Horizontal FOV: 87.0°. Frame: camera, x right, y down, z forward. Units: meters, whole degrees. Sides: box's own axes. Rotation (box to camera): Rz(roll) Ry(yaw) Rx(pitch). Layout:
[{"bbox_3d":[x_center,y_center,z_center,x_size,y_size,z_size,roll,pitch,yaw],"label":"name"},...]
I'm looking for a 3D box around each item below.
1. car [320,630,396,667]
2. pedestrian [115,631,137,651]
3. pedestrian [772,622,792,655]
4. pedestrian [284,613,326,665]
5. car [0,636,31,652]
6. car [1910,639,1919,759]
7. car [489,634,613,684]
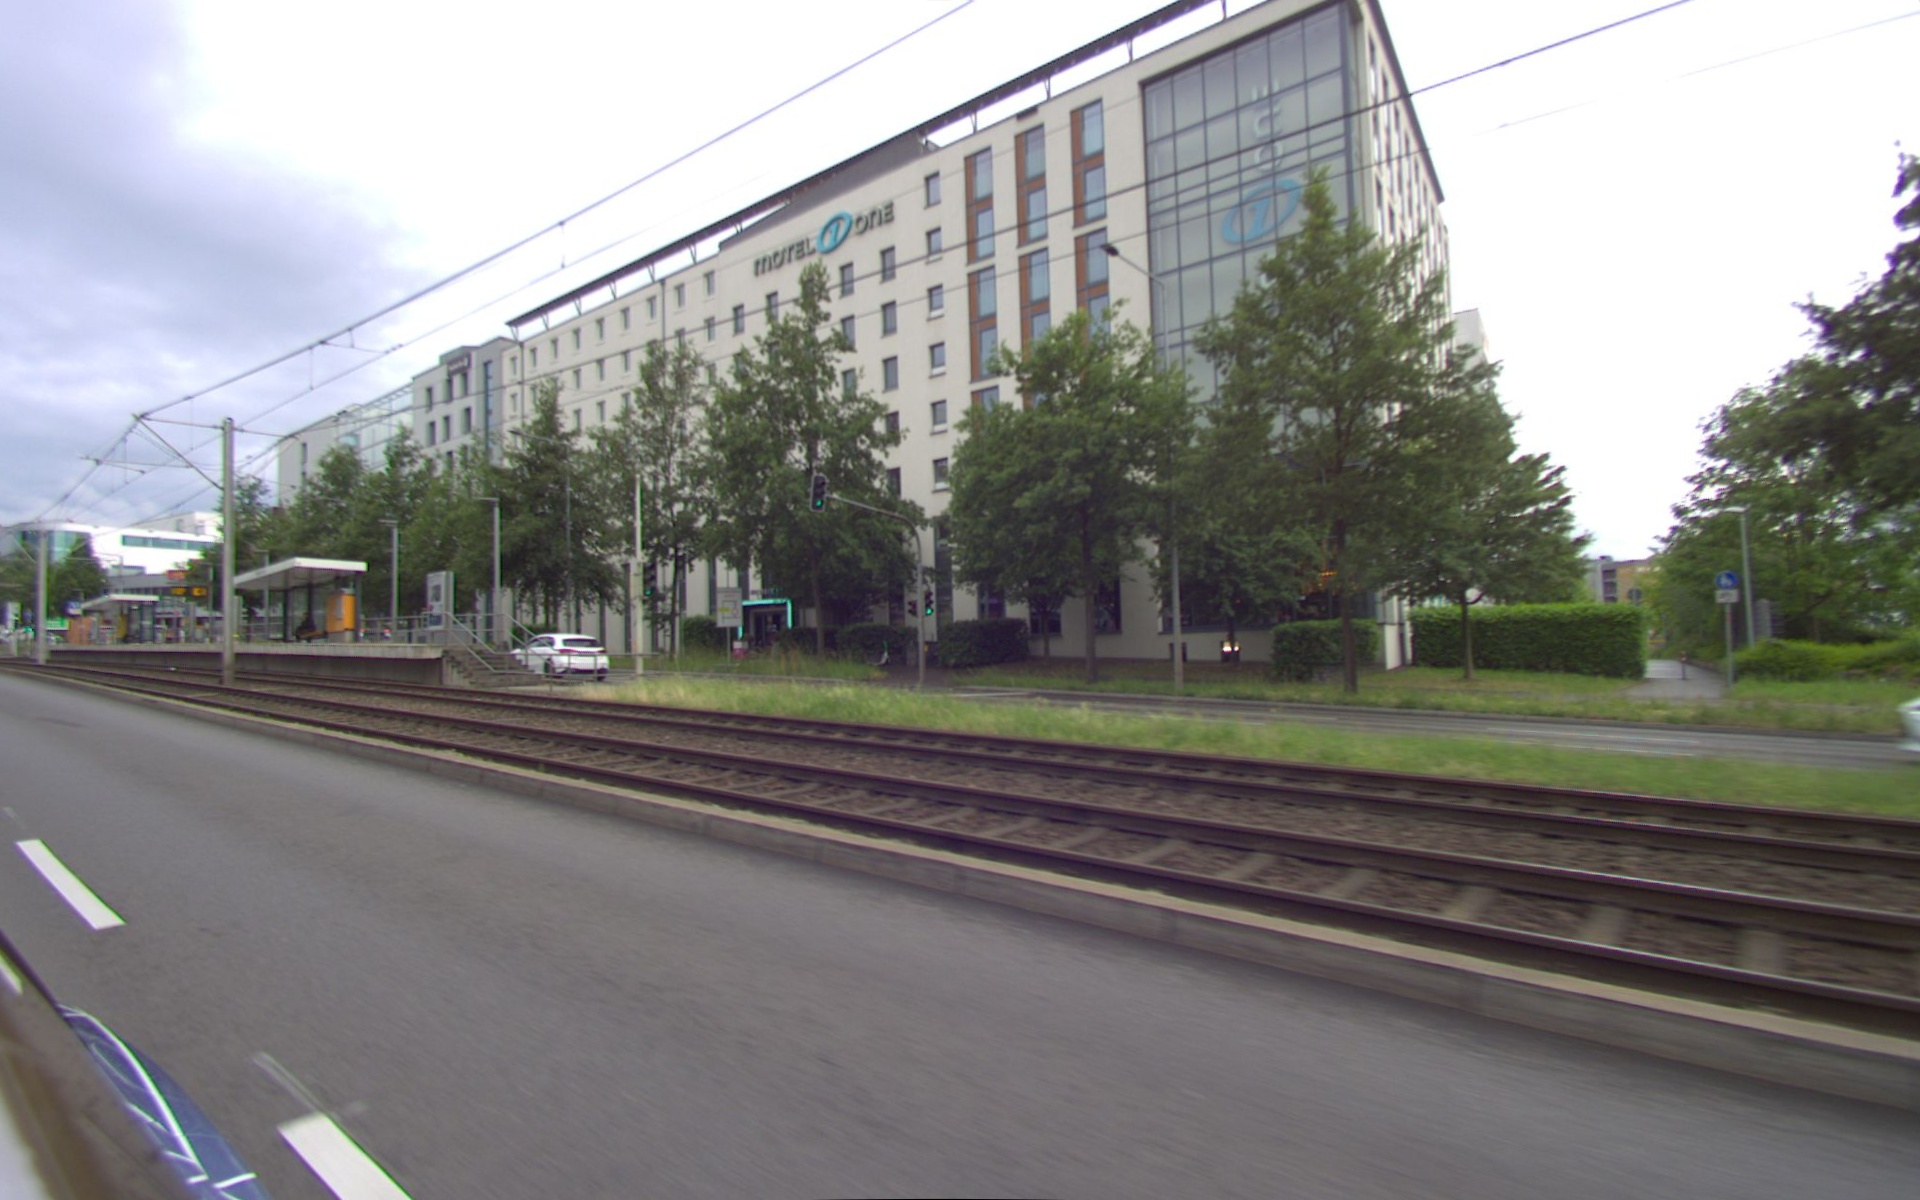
[{"bbox_3d":[-31.697,2.544,53.236,4.999,1.861,1.973,-2,-4,41],"label":"car"},{"bbox_3d":[-53.602,2.624,65.026,0.684,1.310,0.952,-3,-3,39],"label":"pedestrian"},{"bbox_3d":[-8.913,1.925,50.764,0.821,1.590,0.604,-1,-1,-30],"label":"pedestrian"},{"bbox_3d":[-26.334,1.552,40.705,1.270,2.029,1.115,-2,-1,41],"label":"pedestrian"},{"bbox_3d":[-165.713,7.727,176.288,2.262,2.649,5.448,-1,-1,20],"label":"car"},{"bbox_3d":[13.515,1.179,11.294,4.136,1.458,1.861,-2,-3,41],"label":"car"},{"bbox_3d":[-12.932,1.847,31.906,4.426,1.455,1.818,-2,-4,41],"label":"car"}]
